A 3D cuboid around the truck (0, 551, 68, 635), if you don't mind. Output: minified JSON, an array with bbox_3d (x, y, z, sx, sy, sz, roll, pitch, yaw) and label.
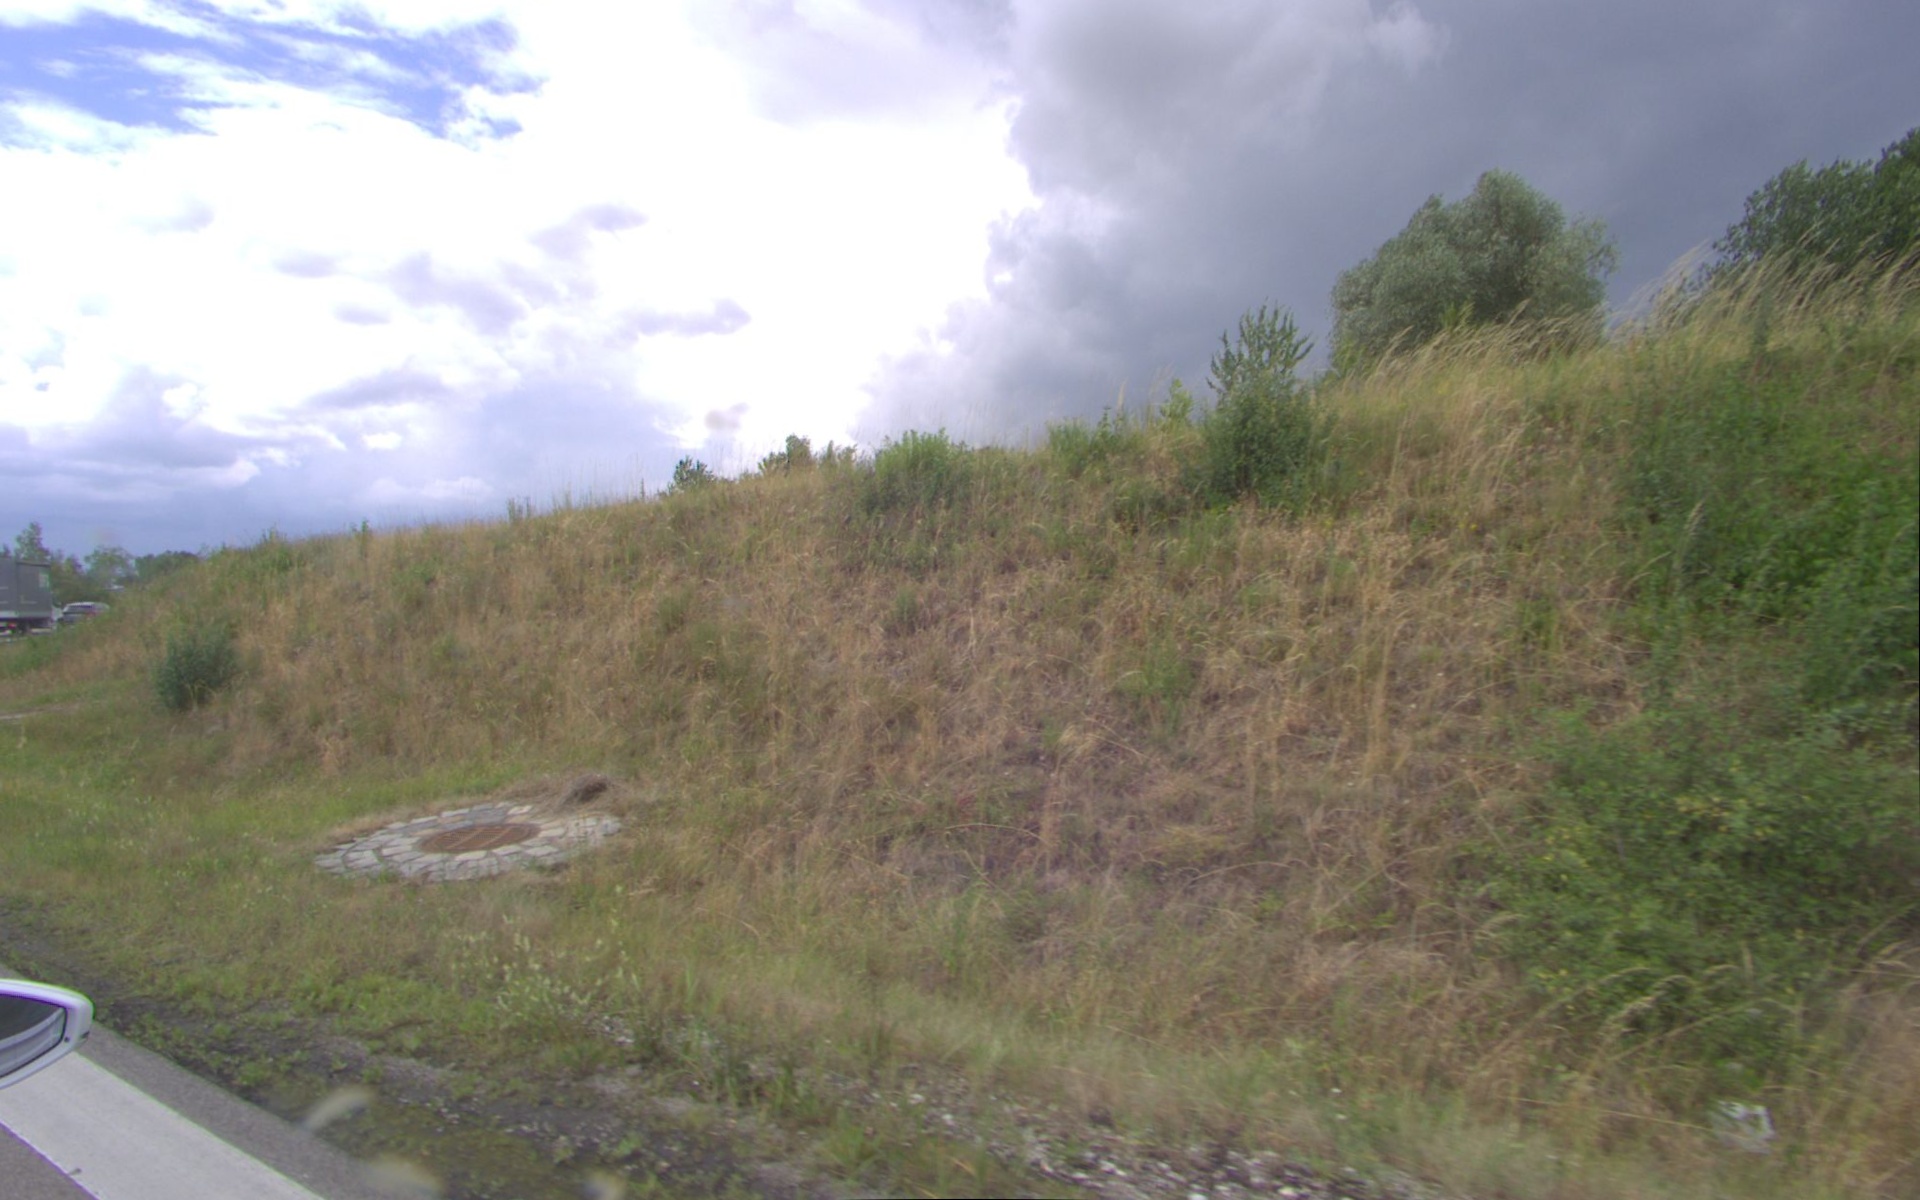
[{"bbox_3d":[-46.784,-0.245,49.748,2.202,3.956,5.992,1,-2,-27],"label":"truck"}]

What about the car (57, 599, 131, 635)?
[{"bbox_3d":[-50.317,1.019,58.304,1.966,2.039,3.991,0,-2,-21],"label":"car"}]
